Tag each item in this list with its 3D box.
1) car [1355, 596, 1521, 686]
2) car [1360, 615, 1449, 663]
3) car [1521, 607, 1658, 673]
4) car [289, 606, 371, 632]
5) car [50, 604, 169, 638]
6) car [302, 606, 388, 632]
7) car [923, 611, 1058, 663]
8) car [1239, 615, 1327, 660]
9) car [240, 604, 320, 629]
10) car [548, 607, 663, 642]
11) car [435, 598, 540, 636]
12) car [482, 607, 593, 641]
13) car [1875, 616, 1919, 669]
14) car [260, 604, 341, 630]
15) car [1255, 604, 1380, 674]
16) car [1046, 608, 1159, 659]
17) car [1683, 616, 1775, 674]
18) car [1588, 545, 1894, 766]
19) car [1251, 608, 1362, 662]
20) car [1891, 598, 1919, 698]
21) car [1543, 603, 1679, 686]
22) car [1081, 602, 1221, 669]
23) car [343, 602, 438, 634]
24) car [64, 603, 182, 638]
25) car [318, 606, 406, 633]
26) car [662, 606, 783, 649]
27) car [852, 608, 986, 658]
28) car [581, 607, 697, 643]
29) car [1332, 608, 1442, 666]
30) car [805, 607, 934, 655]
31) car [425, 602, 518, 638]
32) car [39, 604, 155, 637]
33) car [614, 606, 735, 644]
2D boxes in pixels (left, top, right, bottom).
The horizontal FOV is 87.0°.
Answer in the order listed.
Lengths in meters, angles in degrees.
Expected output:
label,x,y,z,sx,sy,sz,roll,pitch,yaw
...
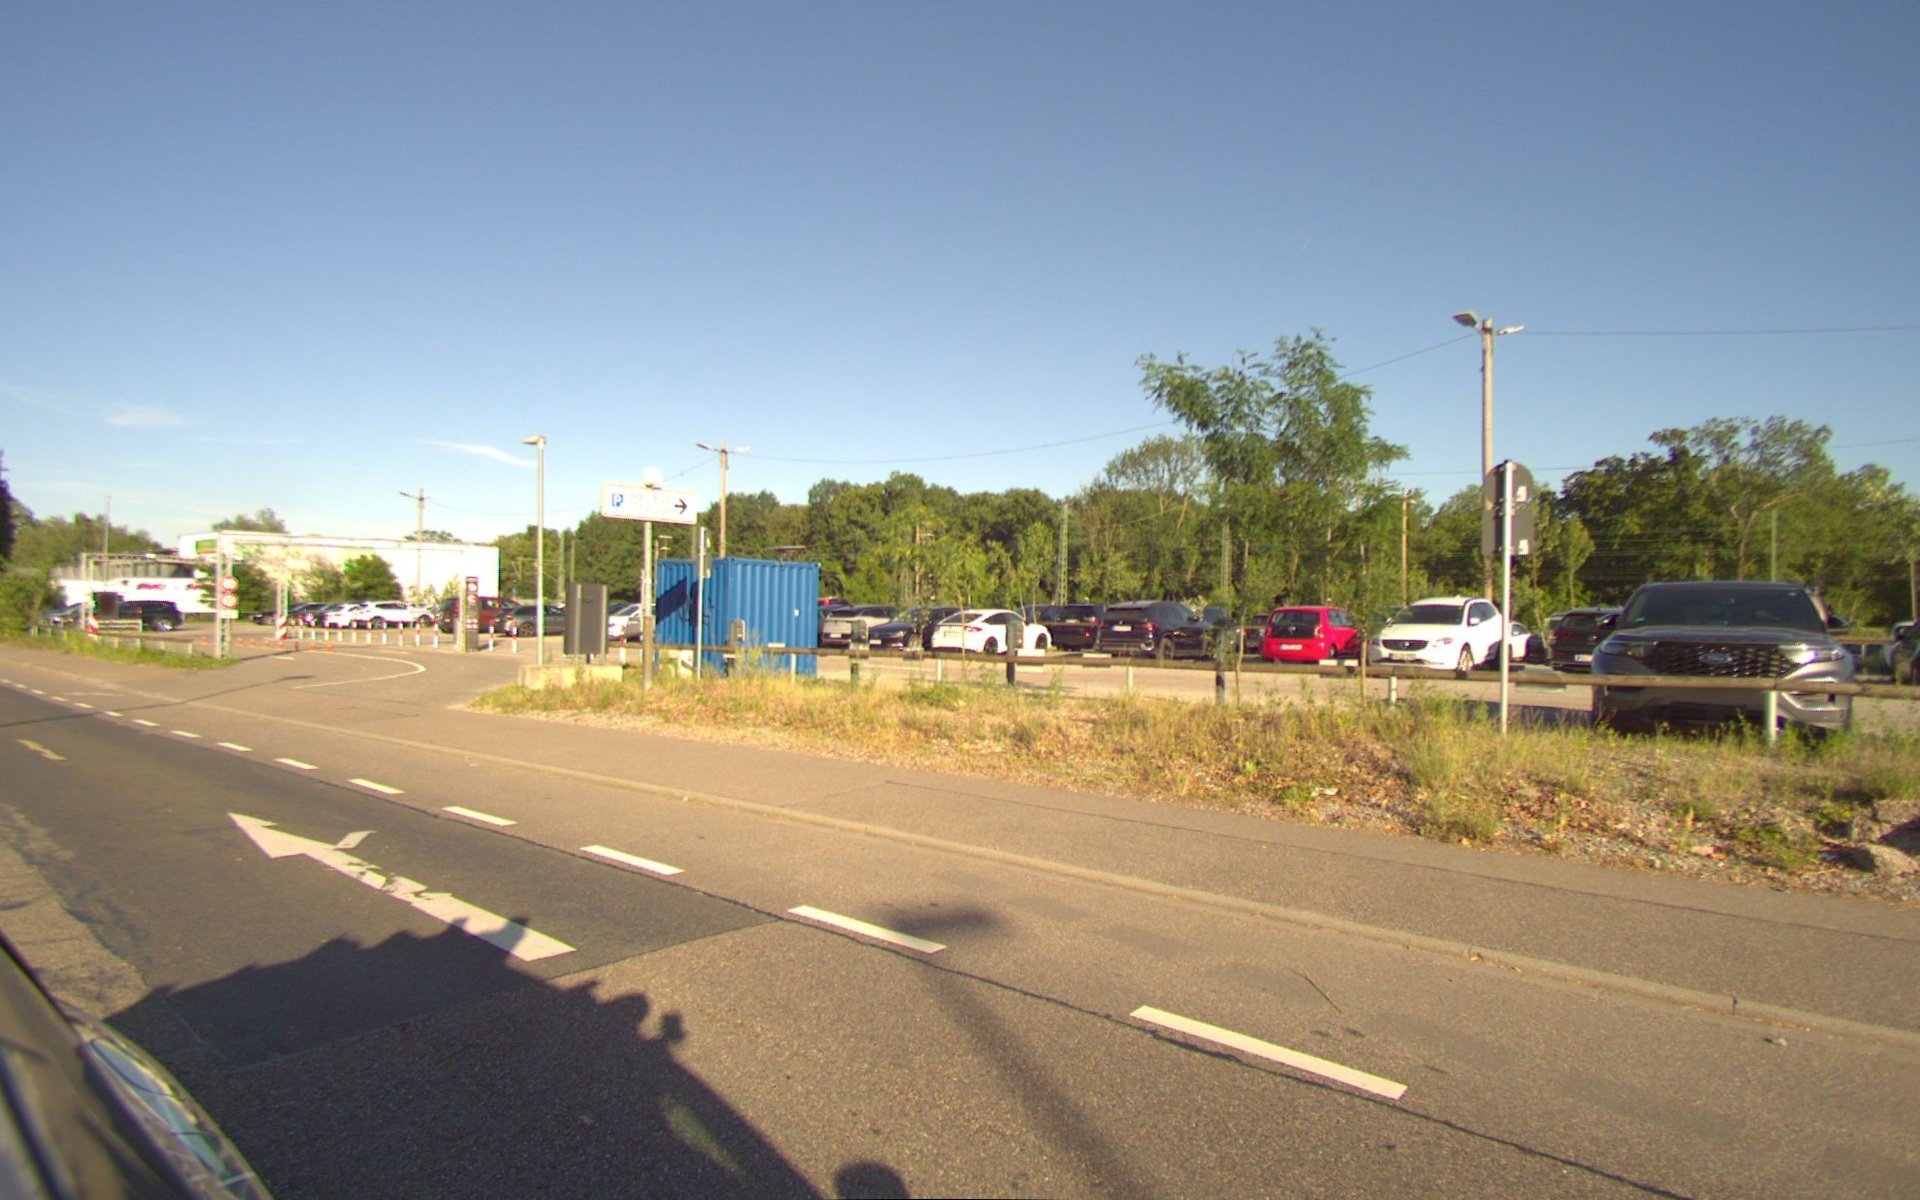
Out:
label,x,y,z,sx,sy,sz,roll,pitch,yaw
car,10.488,0.802,22.028,2.039,1.707,4.637,-1,0,42
car,16.710,1.418,37.962,1.985,1.601,4.147,-1,0,39
car,15.676,0.931,25.119,2.092,1.482,4.056,-1,-1,44
car,-39.151,1.144,62.922,1.762,1.498,3.965,-1,0,35
car,-46.804,1.128,55.803,1.998,1.814,4.751,-1,-1,39
car,-37.069,1.121,61.100,1.762,1.498,4.108,-1,0,35
car,0.997,1.053,30.409,1.867,1.388,4.390,-1,0,38
car,13.045,1.459,40.699,1.985,1.601,4.147,-1,0,39
car,-45.777,1.067,68.216,1.731,1.621,4.278,-1,0,19
car,-15.277,1.024,43.795,1.867,1.388,4.390,-1,0,38
car,-23.578,0.833,50.551,4.381,1.790,1.871,-1,0,-44
car,-19.683,1.104,47.229,4.381,1.455,1.923,-1,0,-45
car,27.882,1.201,29.392,1.876,1.442,3.879,-1,-1,42
car,-43.533,1.120,66.916,1.772,1.637,4.293,-1,0,20
car,8.733,0.868,24.539,1.724,1.516,3.949,0,0,38
car,4.864,1.070,34.112,1.867,1.563,4.390,-1,0,38
car,24.208,1.340,31.802,1.986,1.601,4.145,-1,0,41
car,8.003,0.569,10.469,2.066,1.756,4.479,-1,-4,38
car,10.199,0.972,29.625,1.983,1.443,4.152,-1,-1,36
car,17.355,0.793,17.190,1.998,1.606,3.947,-1,-2,39
car,13.303,0.825,20.591,1.890,1.499,3.891,-1,0,39
car,5.121,0.876,26.802,1.984,1.601,4.149,-1,0,38
car,-32.874,1.039,58.524,1.866,1.792,4.391,-1,-1,37
car,-44.666,1.068,54.072,1.799,1.754,4.597,-1,0,38
car,-35.109,1.103,59.532,1.758,1.497,4.109,-1,0,35
car,-9.142,1.039,39.312,1.867,1.525,4.390,-1,0,38
car,-1.227,1.003,32.021,1.867,1.454,4.390,-1,-1,38
car,-13.385,1.004,42.403,1.867,1.388,4.390,-1,0,38
car,11.902,0.973,28.088,1.944,1.473,4.152,-1,-1,36
car,-2.977,0.994,34.035,1.867,1.477,4.390,-1,0,38
car,-25.602,1.004,53.077,4.015,1.790,1.871,-1,0,-44
car,-48.909,1.150,57.448,1.998,1.814,4.751,-1,-1,39
car,-11.422,0.981,40.710,1.944,1.388,4.390,-1,0,38
